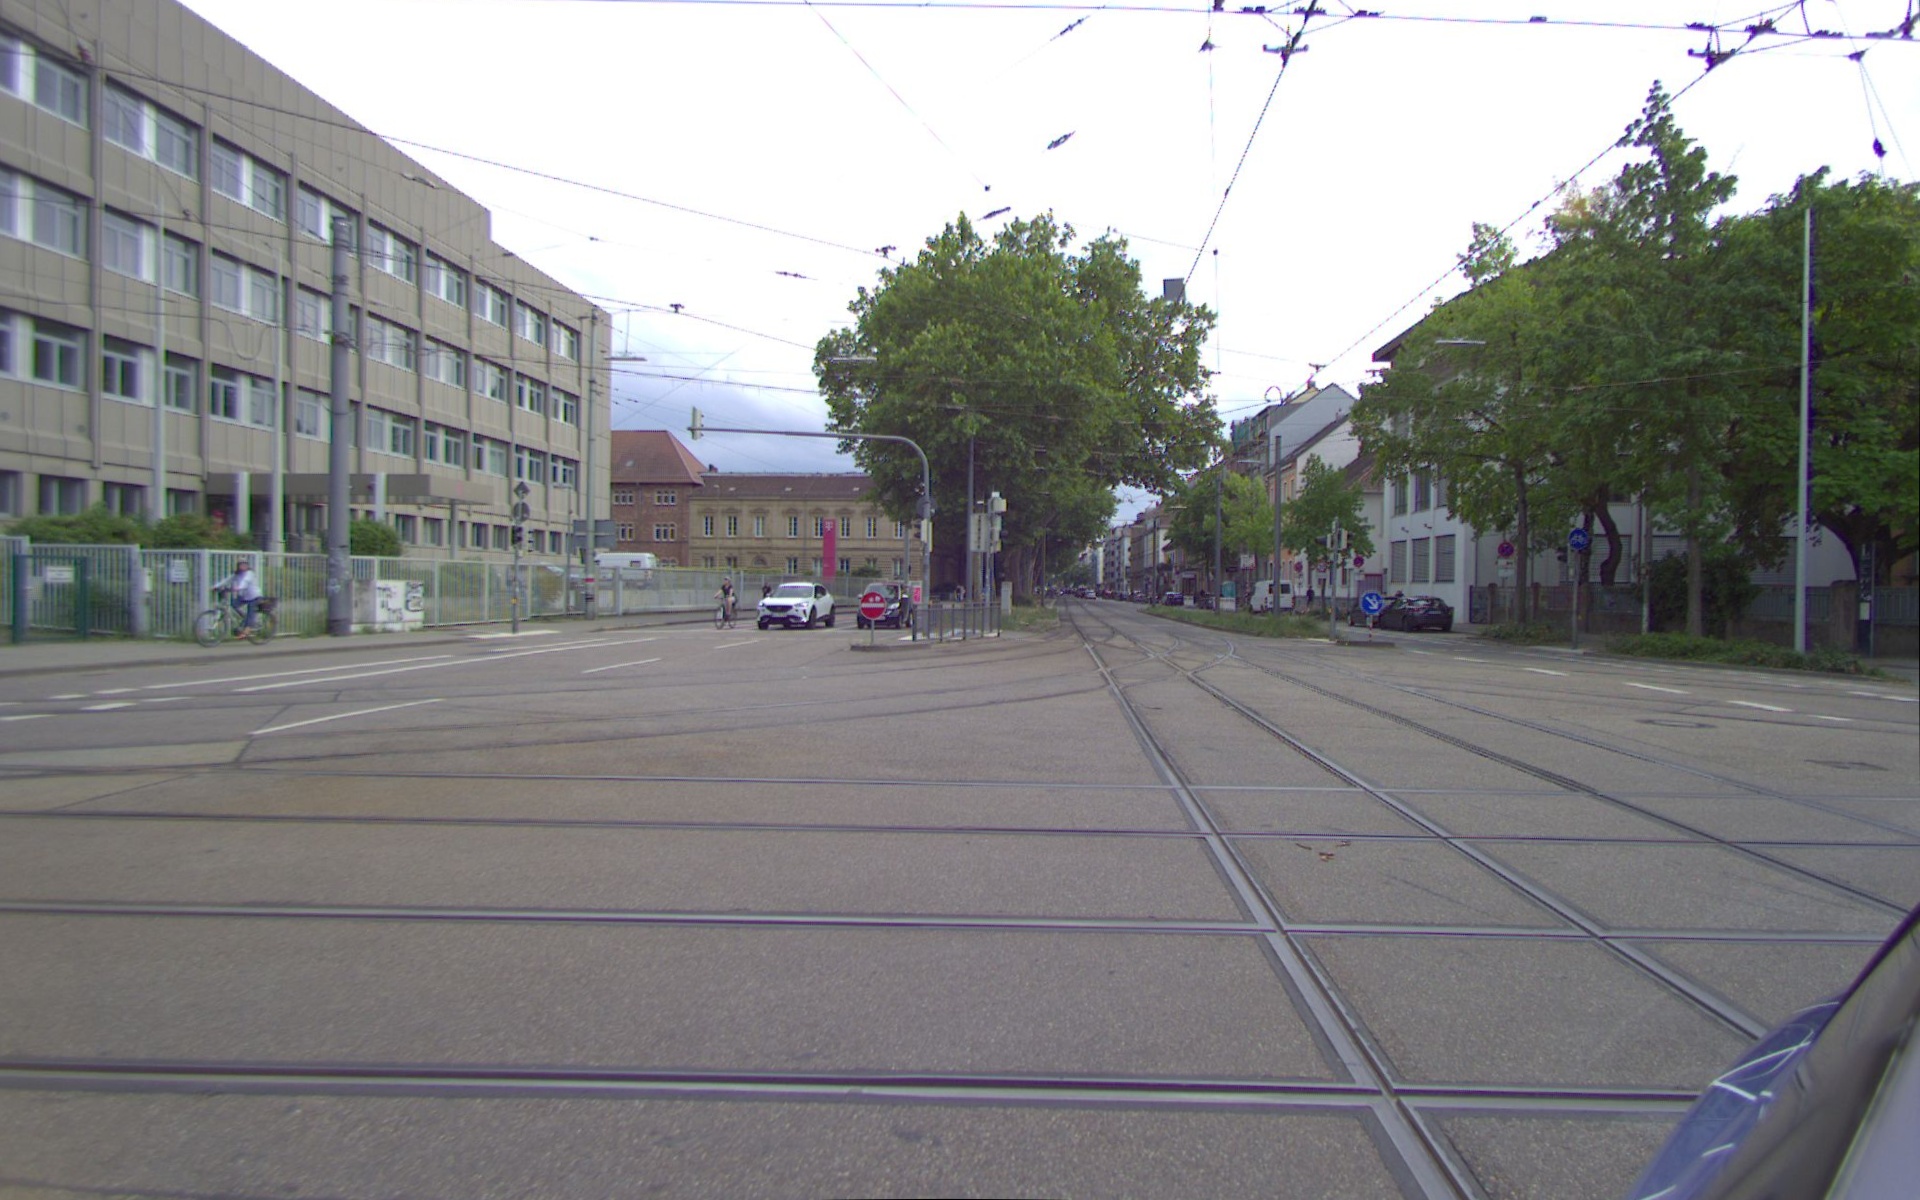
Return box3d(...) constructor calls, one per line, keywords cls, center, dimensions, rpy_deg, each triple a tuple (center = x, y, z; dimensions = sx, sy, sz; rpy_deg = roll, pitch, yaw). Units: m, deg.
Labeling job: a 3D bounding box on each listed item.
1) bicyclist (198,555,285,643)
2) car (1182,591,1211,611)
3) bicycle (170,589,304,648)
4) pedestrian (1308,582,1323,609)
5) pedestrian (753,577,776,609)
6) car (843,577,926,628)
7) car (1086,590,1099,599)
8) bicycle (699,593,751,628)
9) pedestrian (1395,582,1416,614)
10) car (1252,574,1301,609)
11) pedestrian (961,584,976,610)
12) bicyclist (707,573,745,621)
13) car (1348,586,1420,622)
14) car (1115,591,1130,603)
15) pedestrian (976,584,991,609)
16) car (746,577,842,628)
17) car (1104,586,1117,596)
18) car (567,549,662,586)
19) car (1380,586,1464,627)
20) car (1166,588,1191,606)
box3d(cls="bicyclist", center=(-14.549, -0.021, 20.518), dimensions=(0.792, 1.723, 1.176), rpy_deg=(1, -1, 17))
box3d(cls="car", center=(23.229, 0.094, 99.351), dimensions=(2.060, 1.830, 4.415), rpy_deg=(1, 0, 4))
box3d(cls="bicycle", center=(-14.566, 0.359, 20.472), dimensions=(0.792, 1.100, 2.173), rpy_deg=(1, 0, 16))
box3d(cls="pedestrian", center=(24.425, -0.297, 69.602), dimensions=(0.755, 1.803, 0.765), rpy_deg=(1, 0, 6))
box3d(cls="pedestrian", center=(-10.132, -0.374, 52.525), dimensions=(0.870, 1.589, 0.977), rpy_deg=(1, 0, 11))
box3d(cls="car", center=(-2.496, 0.063, 34.345), dimensions=(1.807, 1.586, 4.408), rpy_deg=(1, 0, 9))
box3d(cls="car", center=(23.276, -1.013, 178.126), dimensions=(1.812, 1.510, 3.746), rpy_deg=(1, -1, 1))
box3d(cls="bicycle", center=(-7.871, 0.330, 34.008), dimensions=(0.789, 1.100, 2.556), rpy_deg=(1, 1, 8))
box3d(cls="pedestrian", center=(23.756, -0.088, 53.960), dimensions=(0.756, 1.671, 0.764), rpy_deg=(1, 0, 7))
box3d(cls="car", center=(20.973, -0.562, 67.251), dimensions=(2.060, 2.217, 4.415), rpy_deg=(1, 0, 4))
box3d(cls="pedestrian", center=(0.618, -0.213, 76.345), dimensions=(0.824, 1.888, 1.170), rpy_deg=(1, 0, 15))
box3d(cls="bicyclist", center=(-7.862, -0.104, 34.006), dimensions=(0.789, 1.569, 1.326), rpy_deg=(1, 0, 8))
box3d(cls="car", center=(19.575, 0.158, 46.905), dimensions=(1.729, 1.555, 4.415), rpy_deg=(1, 0, 4))
box3d(cls="car", center=(27.496, -0.557, 171.291), dimensions=(2.061, 1.890, 4.414), rpy_deg=(1, 0, 5))
box3d(cls="pedestrian", center=(1.771, -0.257, 76.488), dimensions=(0.824, 1.888, 1.246), rpy_deg=(1, 0, 15))
box3d(cls="car", center=(-5.404, 0.057, 33.510), dimensions=(1.966, 1.523, 4.412), rpy_deg=(1, 0, 7))
box3d(cls="car", center=(29.406, -1.737, 197.712), dimensions=(2.060, 1.890, 4.415), rpy_deg=(1, 0, 4))
box3d(cls="car", center=(-24.455, -2.286, 71.725), dimensions=(5.791, 2.429, 2.567), rpy_deg=(1, 0, 3))
box3d(cls="car", center=(19.213, 0.228, 42.286), dimensions=(1.706, 1.581, 4.415), rpy_deg=(1, 0, 4))
box3d(cls="car", center=(23.816, -0.317, 110.321), dimensions=(2.060, 1.830, 4.415), rpy_deg=(1, 0, 4))
